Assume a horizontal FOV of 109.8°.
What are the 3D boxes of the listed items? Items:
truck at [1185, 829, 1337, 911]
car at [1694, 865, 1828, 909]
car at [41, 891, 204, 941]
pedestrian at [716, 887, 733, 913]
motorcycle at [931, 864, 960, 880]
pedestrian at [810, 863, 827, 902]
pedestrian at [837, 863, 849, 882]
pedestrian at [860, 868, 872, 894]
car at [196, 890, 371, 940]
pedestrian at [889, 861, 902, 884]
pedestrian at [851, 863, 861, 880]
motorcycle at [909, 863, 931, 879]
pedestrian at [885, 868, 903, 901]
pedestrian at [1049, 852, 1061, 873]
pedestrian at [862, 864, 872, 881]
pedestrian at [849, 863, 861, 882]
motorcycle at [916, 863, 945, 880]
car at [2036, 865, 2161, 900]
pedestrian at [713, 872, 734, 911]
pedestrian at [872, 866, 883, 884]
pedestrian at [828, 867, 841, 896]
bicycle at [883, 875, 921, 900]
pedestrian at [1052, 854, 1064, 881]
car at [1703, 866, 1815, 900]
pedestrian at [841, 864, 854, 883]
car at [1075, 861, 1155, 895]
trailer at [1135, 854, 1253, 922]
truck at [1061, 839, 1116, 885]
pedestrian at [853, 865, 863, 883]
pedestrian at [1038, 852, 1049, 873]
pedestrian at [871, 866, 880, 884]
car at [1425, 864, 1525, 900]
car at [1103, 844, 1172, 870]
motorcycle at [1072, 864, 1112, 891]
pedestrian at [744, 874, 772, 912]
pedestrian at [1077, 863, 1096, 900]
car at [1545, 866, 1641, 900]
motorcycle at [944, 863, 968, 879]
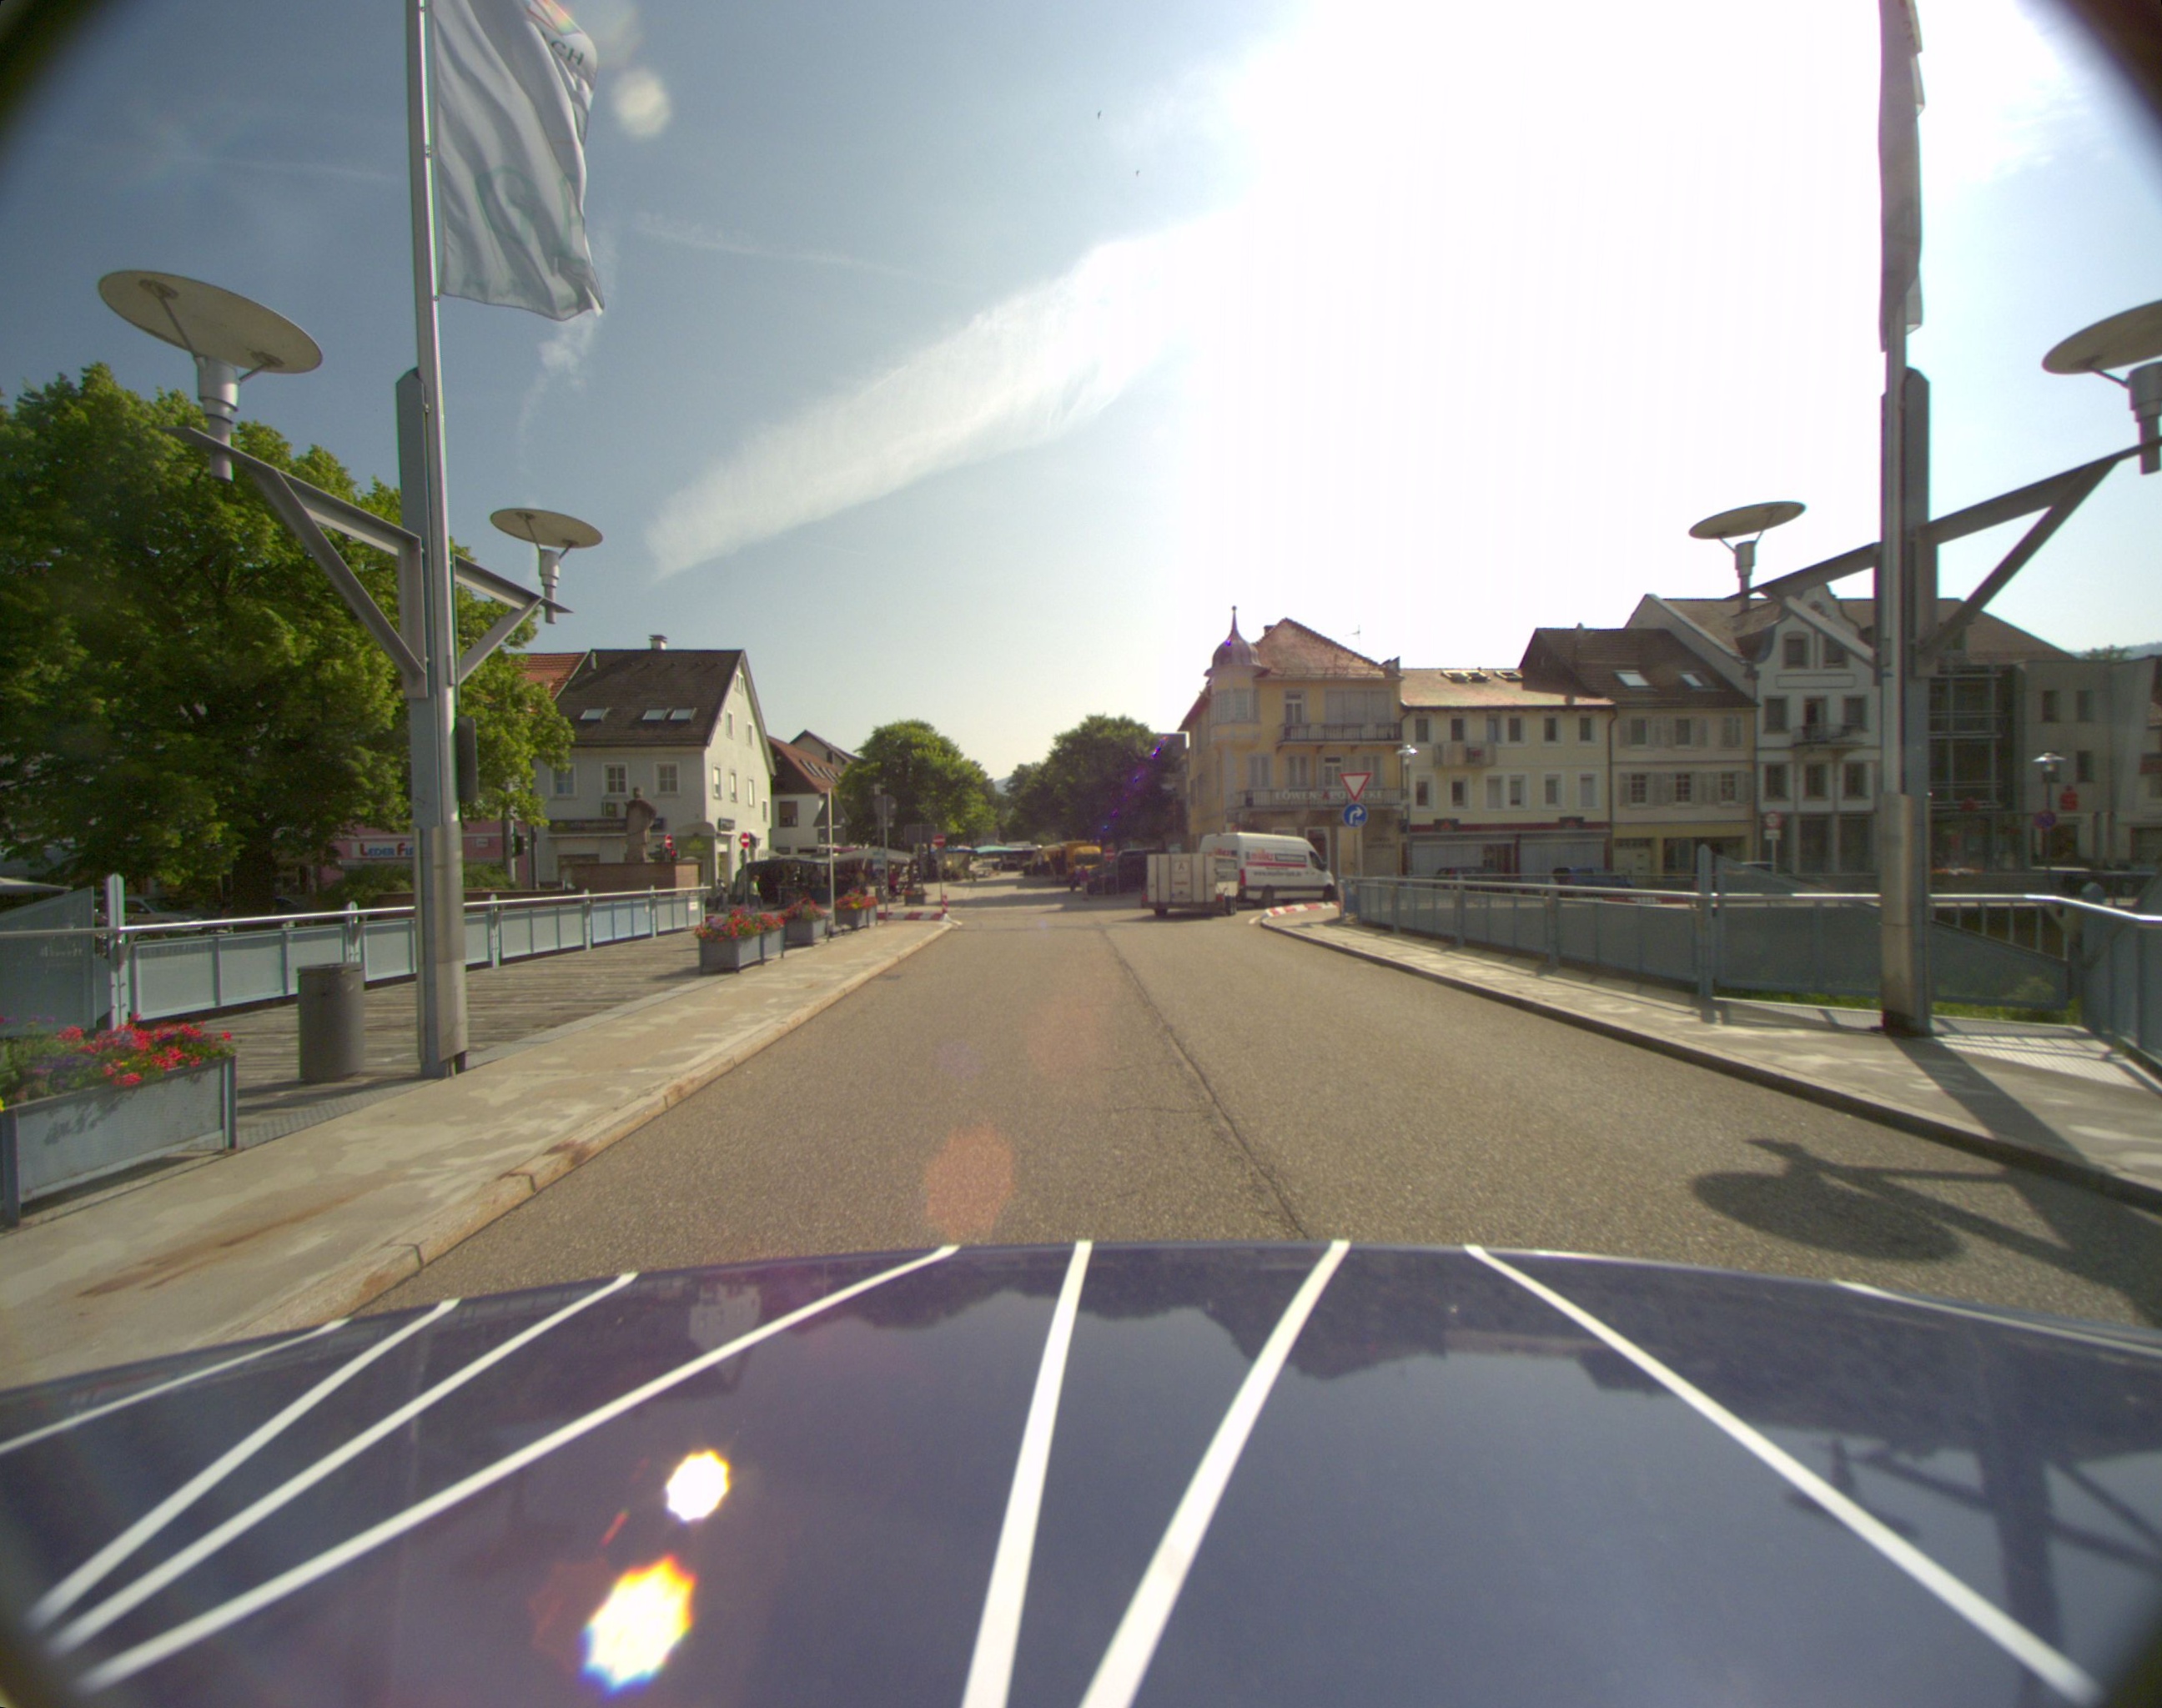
[{"bbox_3d":[6.859,0.618,28.135,2.106,2.682,7.149,-2,-2,44],"label":"truck"},{"bbox_3d":[27.414,1.305,30.700,3.969,1.551,1.684,-2,0,-3],"label":"car"},{"bbox_3d":[-39.789,2.535,31.629,4.145,1.730,1.710,-2,2,-6],"label":"car"},{"bbox_3d":[-16.035,2.061,34.154,0.623,1.153,0.515,-1,0,-32],"label":"pedestrian"},{"bbox_3d":[-10.282,1.360,57.608,2.002,1.189,0.644,1,1,10],"label":"motorcycle"},{"bbox_3d":[-13.575,1.442,39.286,0.708,1.973,0.651,-1,0,-24],"label":"pedestrian"},{"bbox_3d":[-16.606,1.302,52.984,0.626,1.323,0.699,1,1,0],"label":"pedestrian"},{"bbox_3d":[-12.535,1.563,44.260,0.622,1.509,0.632,-1,0,-14],"label":"pedestrian"},{"bbox_3d":[-30.825,2.323,29.494,4.498,1.557,1.823,-2,2,-6],"label":"car"},{"bbox_3d":[-12.913,1.278,52.863,0.699,1.544,0.572,1,1,3],"label":"pedestrian"},{"bbox_3d":[-16.523,1.302,55.844,0.572,1.194,0.650,1,1,-2],"label":"pedestrian"},{"bbox_3d":[-12.291,1.316,57.965,1.532,1.189,0.643,1,1,-3],"label":"motorcycle"},{"bbox_3d":[-9.495,1.534,38.568,0.884,1.649,0.571,1,1,-13],"label":"pedestrian"},{"bbox_3d":[-2.141,0.674,62.538,0.682,1.672,0.582,-4,2,-20],"label":"pedestrian"},{"bbox_3d":[-15.727,1.349,55.924,0.572,1.194,0.650,1,1,-2],"label":"pedestrian"},{"bbox_3d":[-16.305,1.310,54.765,0.626,1.323,0.699,1,1,0],"label":"pedestrian"},{"bbox_3d":[-11.260,1.336,56.908,2.002,1.189,0.644,1,1,10],"label":"motorcycle"},{"bbox_3d":[44.906,1.220,33.263,4.198,1.348,1.756,-2,-1,-3],"label":"car"},{"bbox_3d":[-16.331,1.694,34.707,0.789,1.714,0.705,-1,0,-32],"label":"pedestrian"},{"bbox_3d":[-13.893,1.426,51.809,0.700,1.194,0.571,1,1,-17],"label":"pedestrian"},{"bbox_3d":[-13.718,1.530,42.293,0.522,1.617,0.707,-1,0,-7],"label":"pedestrian"},{"bbox_3d":[-9.407,1.731,39.877,1.863,1.228,0.616,-2,1,-16],"label":"bicycle"},{"bbox_3d":[-1.577,0.917,51.645,0.681,1.777,0.726,-3,2,-7],"label":"pedestrian"},{"bbox_3d":[31.514,1.327,35.389,3.793,1.439,1.752,-1,0,-5],"label":"car"},{"bbox_3d":[-16.563,1.377,53.911,0.626,1.323,0.699,1,1,0],"label":"pedestrian"},{"bbox_3d":[1.838,1.233,40.473,3.966,1.534,1.918,-4,2,-42],"label":"car"},{"bbox_3d":[3.639,0.950,23.211,2.613,1.817,5.646,-1,-1,18],"label":"trailer"},{"bbox_3d":[0.336,0.392,50.926,3.009,2.742,8.856,-2,1,-3],"label":"truck"},{"bbox_3d":[-15.620,1.410,53.239,0.572,1.194,0.650,1,1,-2],"label":"pedestrian"},{"bbox_3d":[-3.116,0.684,63.141,0.682,1.672,0.582,-4,1,-18],"label":"pedestrian"},{"bbox_3d":[-14.285,1.480,52.819,0.572,1.194,0.650,1,1,-14],"label":"pedestrian"},{"bbox_3d":[17.863,1.248,34.563,3.567,1.559,1.852,-1,0,-5],"label":"car"},{"bbox_3d":[4.384,0.247,59.493,5.072,1.880,1.999,-1,0,-8],"label":"car"},{"bbox_3d":[0.606,1.336,42.918,2.087,1.353,0.888,-4,1,-5],"label":"motorcycle"},{"bbox_3d":[-14.514,1.746,34.118,0.858,1.623,0.788,-2,3,-2],"label":"pedestrian"},{"bbox_3d":[0.266,1.311,36.334,0.678,1.705,0.618,-1,1,27],"label":"pedestrian"},{"bbox_3d":[23.466,1.317,34.923,3.275,1.439,1.752,-1,0,-5],"label":"car"},{"bbox_3d":[-9.667,1.311,58.551,1.999,1.189,0.645,2,1,39],"label":"motorcycle"}]
